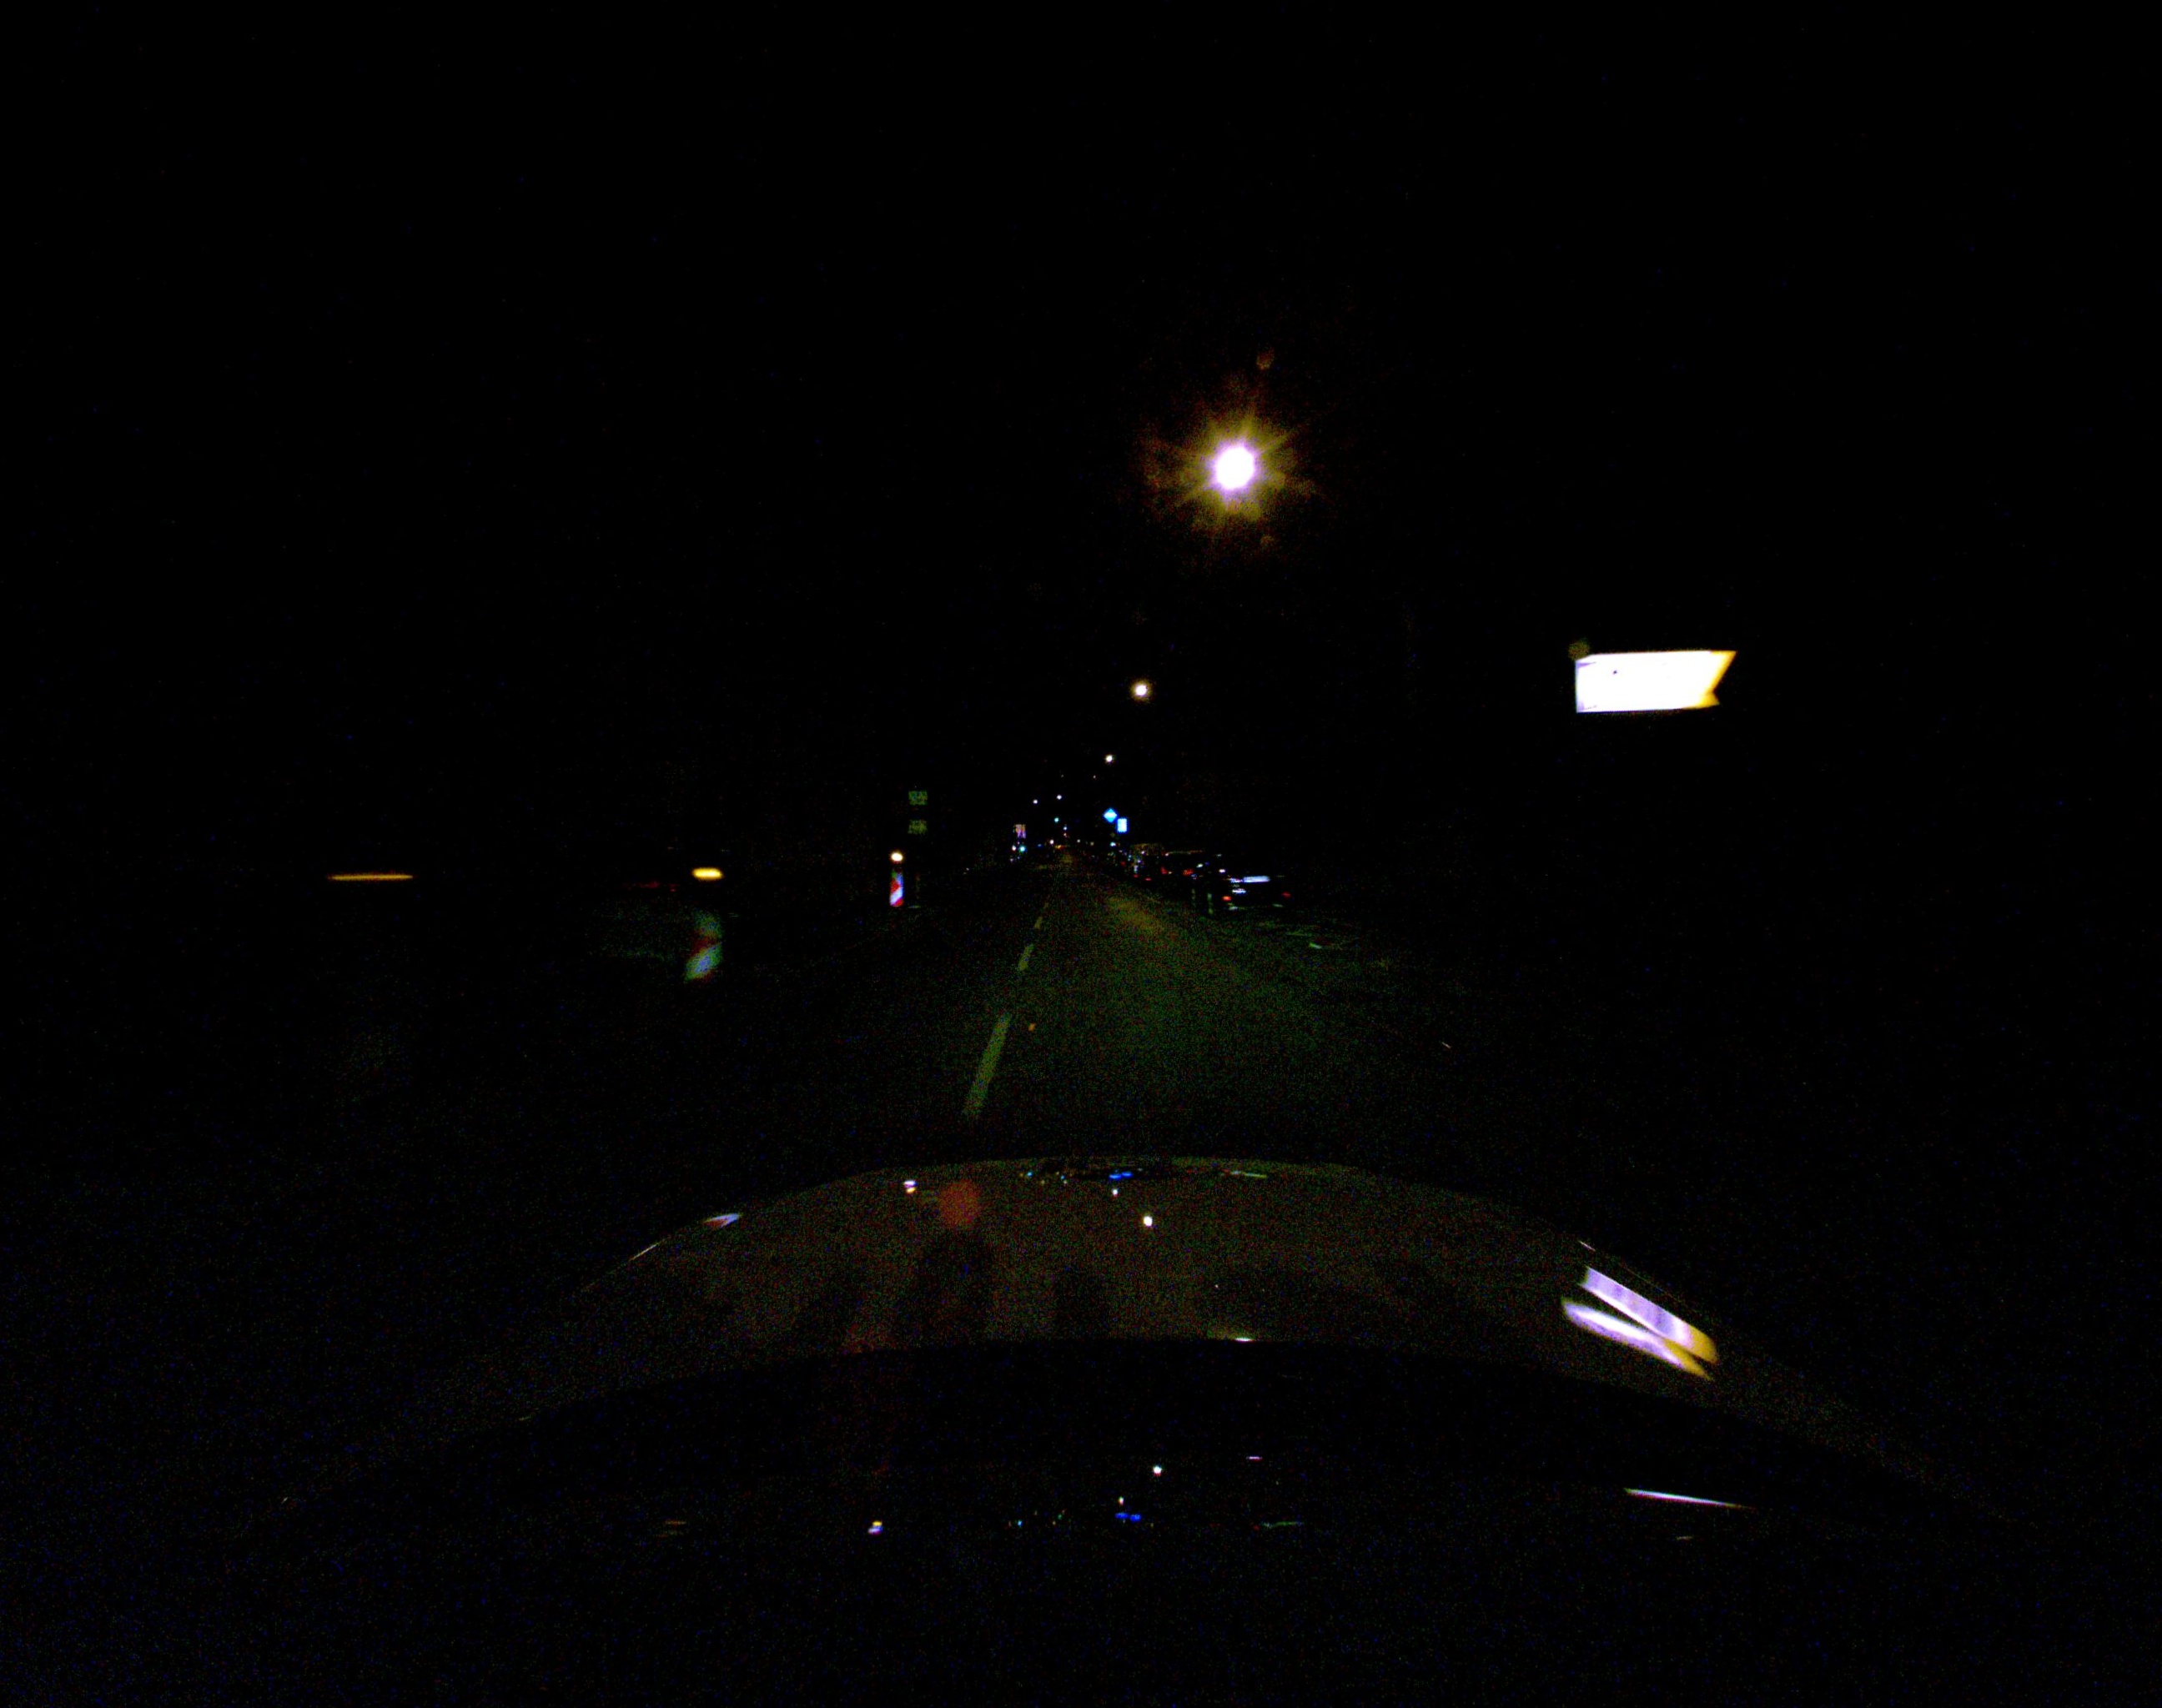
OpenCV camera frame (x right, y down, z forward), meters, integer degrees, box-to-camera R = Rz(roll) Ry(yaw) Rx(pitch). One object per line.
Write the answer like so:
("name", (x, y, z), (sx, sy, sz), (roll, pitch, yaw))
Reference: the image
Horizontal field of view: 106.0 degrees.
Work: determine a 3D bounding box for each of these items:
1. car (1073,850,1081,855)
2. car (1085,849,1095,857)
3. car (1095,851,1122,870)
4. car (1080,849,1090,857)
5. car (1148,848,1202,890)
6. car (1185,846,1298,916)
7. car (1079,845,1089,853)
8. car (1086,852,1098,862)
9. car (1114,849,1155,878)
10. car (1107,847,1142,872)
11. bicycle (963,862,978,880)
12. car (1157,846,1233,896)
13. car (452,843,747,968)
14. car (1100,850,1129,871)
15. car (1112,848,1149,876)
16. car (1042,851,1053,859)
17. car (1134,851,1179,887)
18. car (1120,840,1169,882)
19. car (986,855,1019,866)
("car", (-1.177, -0.457, 232.444), (1.987, 1.520, 4.000), (-2, 0, 0))
("car", (1.789, -0.256, 160.420), (1.987, 1.520, 4.000), (-2, 0, 0))
("car", (2.236, 0.539, 67.373), (1.856, 1.489, 4.540), (-2, 0, -3))
("car", (0.776, -0.180, 166.991), (1.987, 1.520, 4.000), (-2, 0, 0))
("car", (3.552, 0.547, 31.429), (1.590, 1.467, 3.717), (-2, 0, -1))
("car", (3.678, 0.587, 19.471), (1.773, 1.426, 4.480), (-2, 0, 0))
("car", (0.697, -1.140, 184.340), (1.987, 1.520, 4.000), (-2, 0, 0))
("car", (1.886, 0.519, 136.249), (1.987, 1.516, 4.000), (-1, 0, 0))
("car", (2.991, 0.506, 46.283), (1.812, 1.427, 4.186), (-4, 0, -2))
("car", (2.977, 0.355, 56.536), (1.819, 1.623, 4.452), (-3, 0, -3))
("bicycle", (-6.590, 0.987, 48.706), (0.617, 1.051, 1.721), (-2, 0, 0))
("car", (3.576, 0.521, 26.210), (1.774, 1.426, 3.889), (-2, 0, -2))
("car", (-8.037, 0.836, 13.767), (3.961, 1.889, 1.915), (-2, -1, 11))
("car", (2.532, 0.505, 62.377), (1.771, 1.544, 4.540), (-2, 0, -3))
("car", (3.045, 0.441, 51.128), (1.819, 1.588, 4.624), (-3, 0, -2))
("car", (-6.339, 0.189, 154.468), (1.988, 1.502, 3.998), (-2, 0, -1))
("car", (3.282, 0.632, 35.970), (1.590, 1.467, 3.890), (-2, 0, -1))
("car", (3.176, 0.328, 41.516), (1.796, 1.875, 4.768), (-4, 0, -3))
("car", (-10.776, 0.883, 112.065), (4.427, 1.449, 1.999), (-2, 0, -2))
